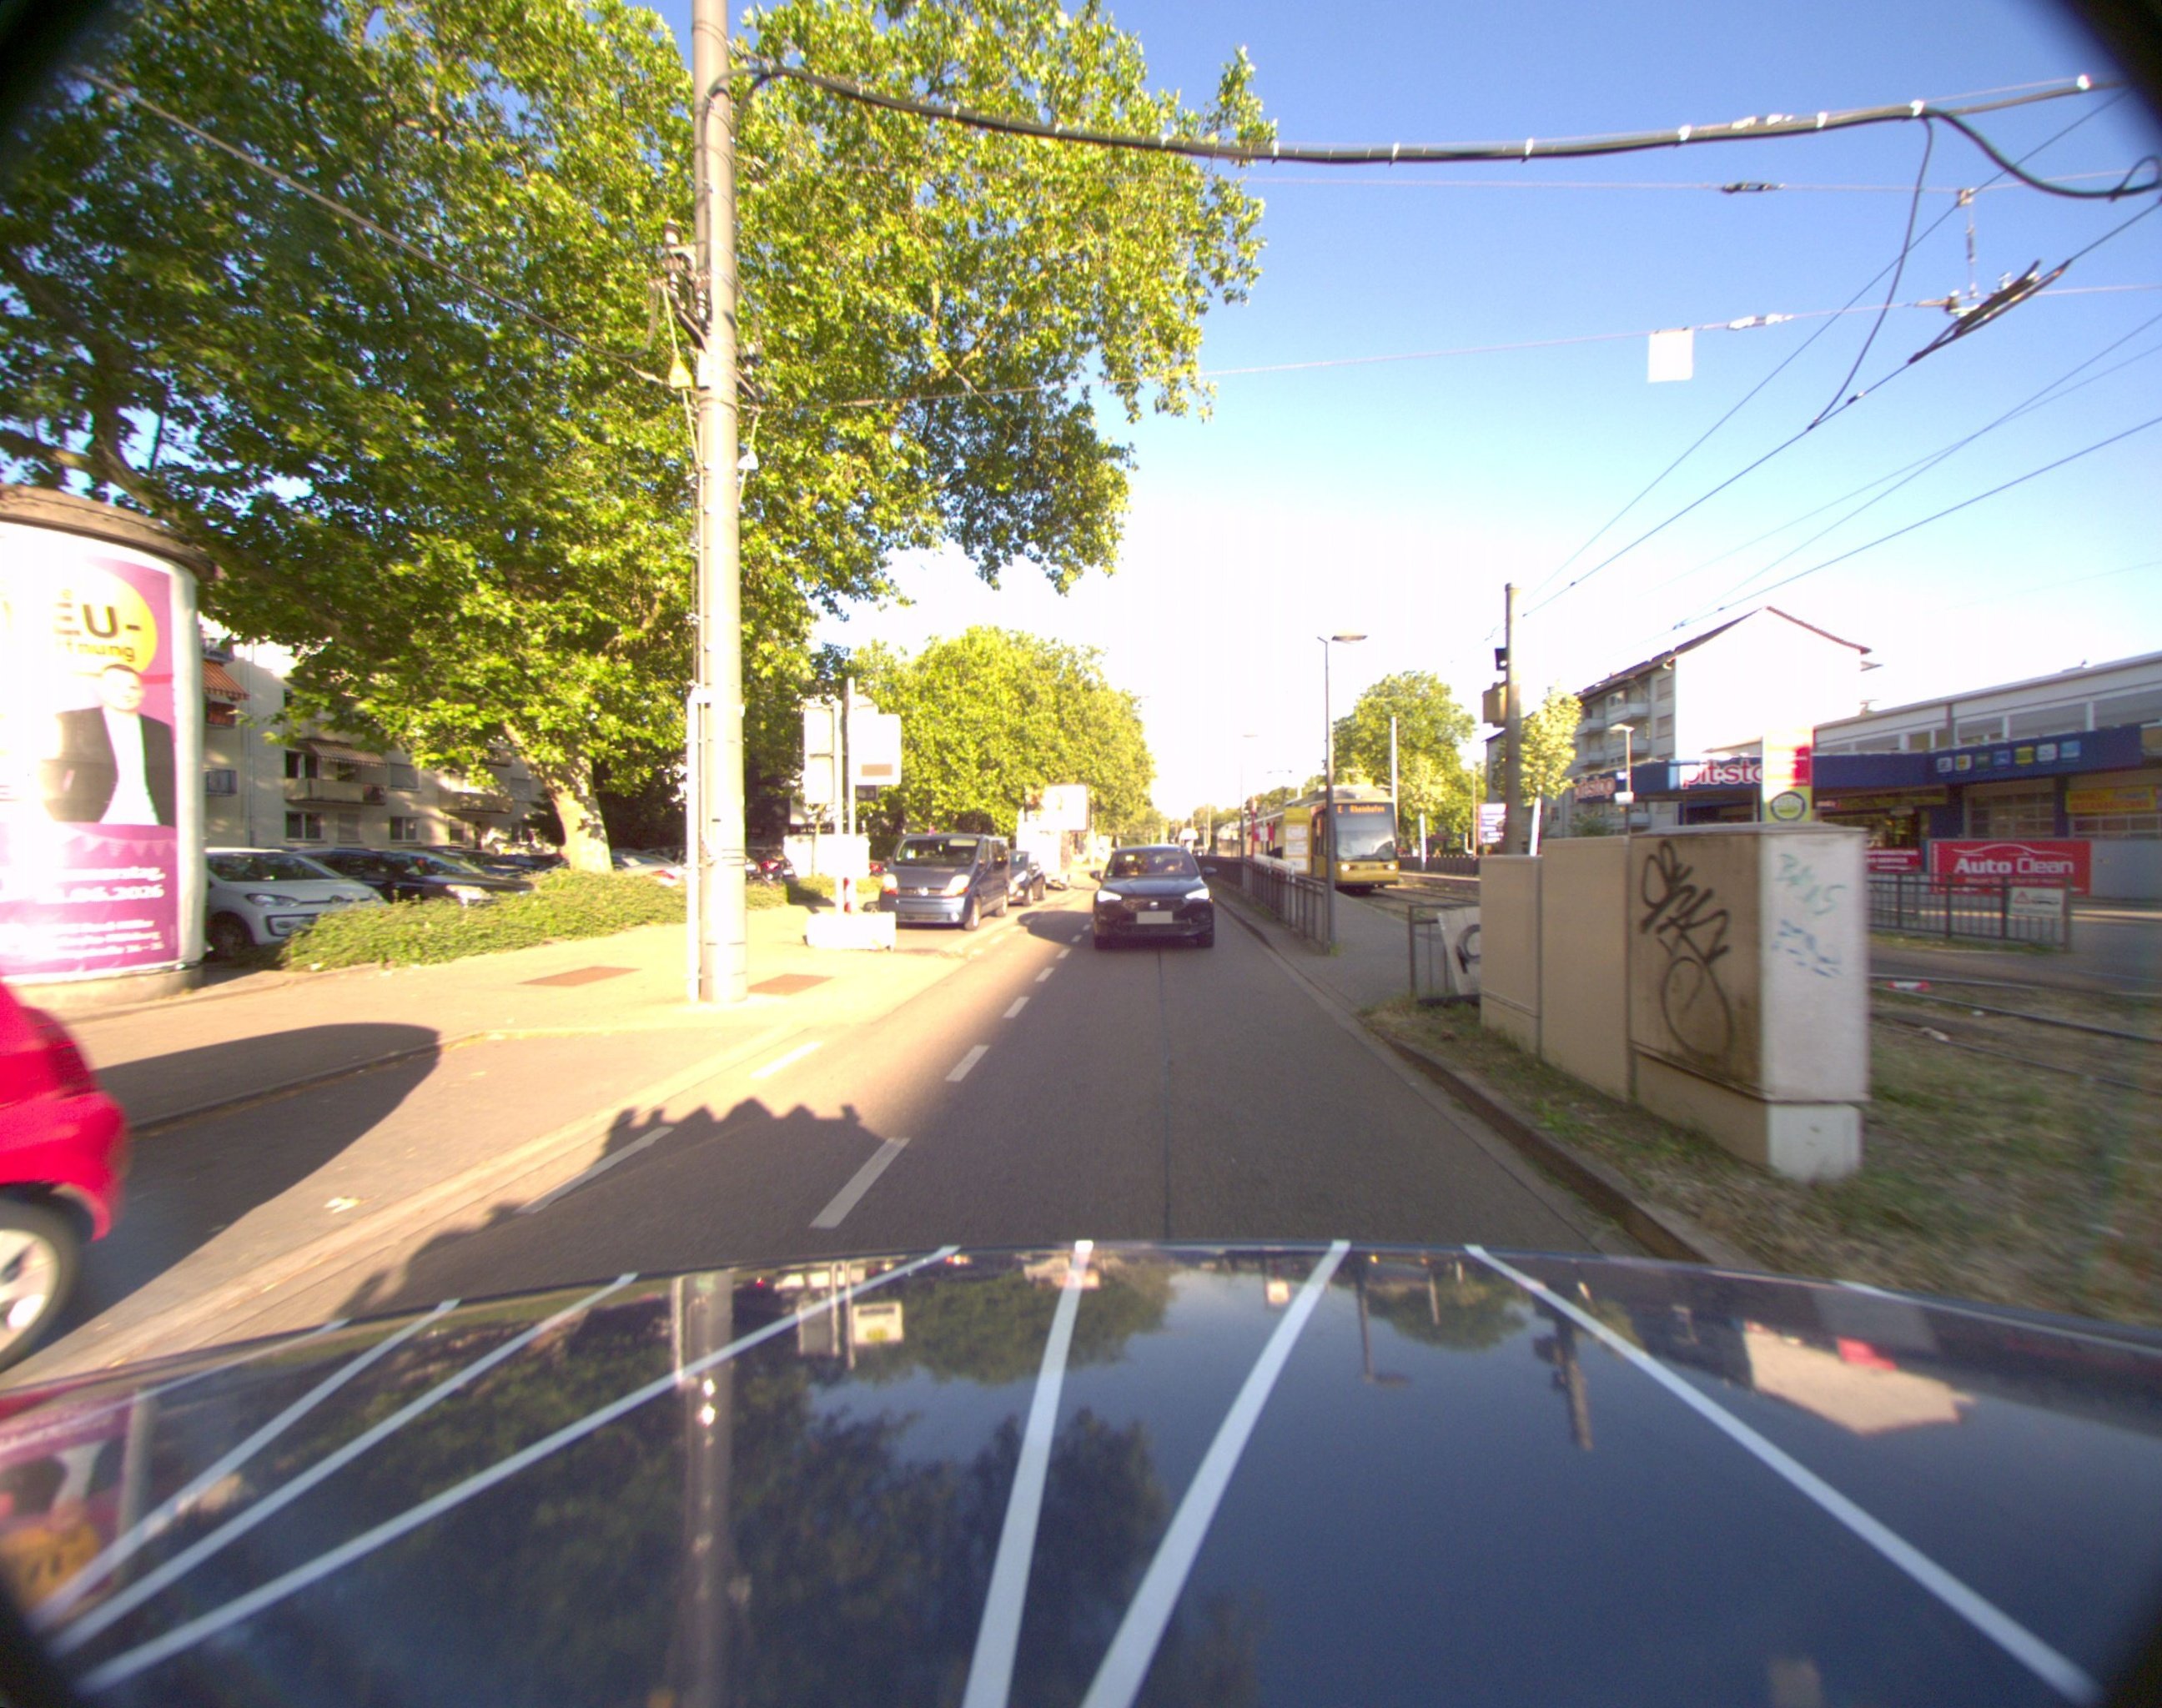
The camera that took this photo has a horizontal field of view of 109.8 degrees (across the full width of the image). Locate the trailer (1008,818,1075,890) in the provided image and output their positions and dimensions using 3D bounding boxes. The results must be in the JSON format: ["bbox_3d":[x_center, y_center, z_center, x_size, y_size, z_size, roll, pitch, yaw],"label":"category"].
[{"bbox_3d":[-1.415,-0.018,29.360,1.889,2.573,4.652,0,1,6],"label":"trailer"}]

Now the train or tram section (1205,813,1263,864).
[{"bbox_3d":[11.353,-1.151,57.378,3.042,3.498,10.098,1,1,4],"label":"train or tram section"}]

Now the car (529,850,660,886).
[{"bbox_3d":[-20.606,0.562,32.302,4.291,1.487,2.000,0,1,2],"label":"car"}]

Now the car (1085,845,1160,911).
[{"bbox_3d":[1.303,0.606,21.993,1.889,1.656,4.854,-1,0,6],"label":"car"}]

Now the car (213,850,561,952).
[{"bbox_3d":[-10.910,0.677,12.115,4.120,1.486,1.803,0,1,7],"label":"car"}]

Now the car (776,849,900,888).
[{"bbox_3d":[-9.653,0.572,30.394,4.291,1.487,2.000,0,1,2],"label":"car"}]

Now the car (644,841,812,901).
[{"bbox_3d":[-10.391,0.474,22.530,4.120,1.541,1.803,-3,0,7],"label":"car"}]

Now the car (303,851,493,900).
[{"bbox_3d":[-21.742,0.656,24.321,4.291,1.487,2.000,0,1,2],"label":"car"}]

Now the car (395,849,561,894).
[{"bbox_3d":[-21.206,0.605,26.866,4.291,1.526,2.000,0,1,2],"label":"car"}]

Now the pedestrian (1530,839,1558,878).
[{"bbox_3d":[23.141,0.234,38.029,0.754,1.871,1.001,-3,1,4],"label":"pedestrian"}]

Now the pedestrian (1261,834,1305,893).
[{"bbox_3d":[5.402,0.247,20.359,0.918,1.541,0.789,-2,1,-3],"label":"pedestrian"}]

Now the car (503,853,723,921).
[{"bbox_3d":[-10.828,0.718,17.747,4.120,1.486,1.803,0,1,7],"label":"car"}]

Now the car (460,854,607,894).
[{"bbox_3d":[-21.249,0.758,29.619,4.291,1.487,2.000,0,1,2],"label":"car"}]

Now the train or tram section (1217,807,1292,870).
[{"bbox_3d":[10.557,-0.962,47.297,3.042,3.498,10.098,1,1,4],"label":"train or tram section"}]

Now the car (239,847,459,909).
[{"bbox_3d":[-20.958,0.642,21.898,4.453,1.681,2.000,0,1,2],"label":"car"}]

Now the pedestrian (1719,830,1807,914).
[{"bbox_3d":[14.114,0.354,15.754,0.936,1.644,0.926,-3,1,5],"label":"pedestrian"}]

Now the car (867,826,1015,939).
[{"bbox_3d":[-2.778,0.507,16.199,1.888,2.066,4.564,0,1,6],"label":"car"}]

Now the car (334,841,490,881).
[{"bbox_3d":[-25.778,0.262,29.369,4.291,1.487,2.000,0,1,2],"label":"car"}]

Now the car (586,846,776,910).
[{"bbox_3d":[-10.511,0.595,20.121,4.120,1.590,1.803,0,1,7],"label":"car"}]

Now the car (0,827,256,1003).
[{"bbox_3d":[-11.647,0.624,8.122,3.848,1.622,1.857,-2,0,7],"label":"car"}]

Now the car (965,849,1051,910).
[{"bbox_3d":[-2.069,0.682,22.588,1.799,1.621,4.001,0,1,6],"label":"car"}]

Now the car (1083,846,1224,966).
[{"bbox_3d":[1.089,0.728,12.727,1.910,1.606,4.086,-2,0,2],"label":"car"}]

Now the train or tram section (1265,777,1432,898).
[{"bbox_3d":[9.005,-0.570,27.160,3.042,3.498,10.098,1,1,4],"label":"train or tram section"}]

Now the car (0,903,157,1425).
[{"bbox_3d":[-4.075,0.920,0.825,1.572,1.486,3.627,2,1,6],"label":"car"}]

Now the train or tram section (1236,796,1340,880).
[{"bbox_3d":[9.786,-0.768,37.228,3.042,3.498,10.098,1,1,4],"label":"train or tram section"}]

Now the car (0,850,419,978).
[{"bbox_3d":[-11.378,0.756,10.040,3.848,1.428,1.804,-2,-1,7],"label":"car"}]
